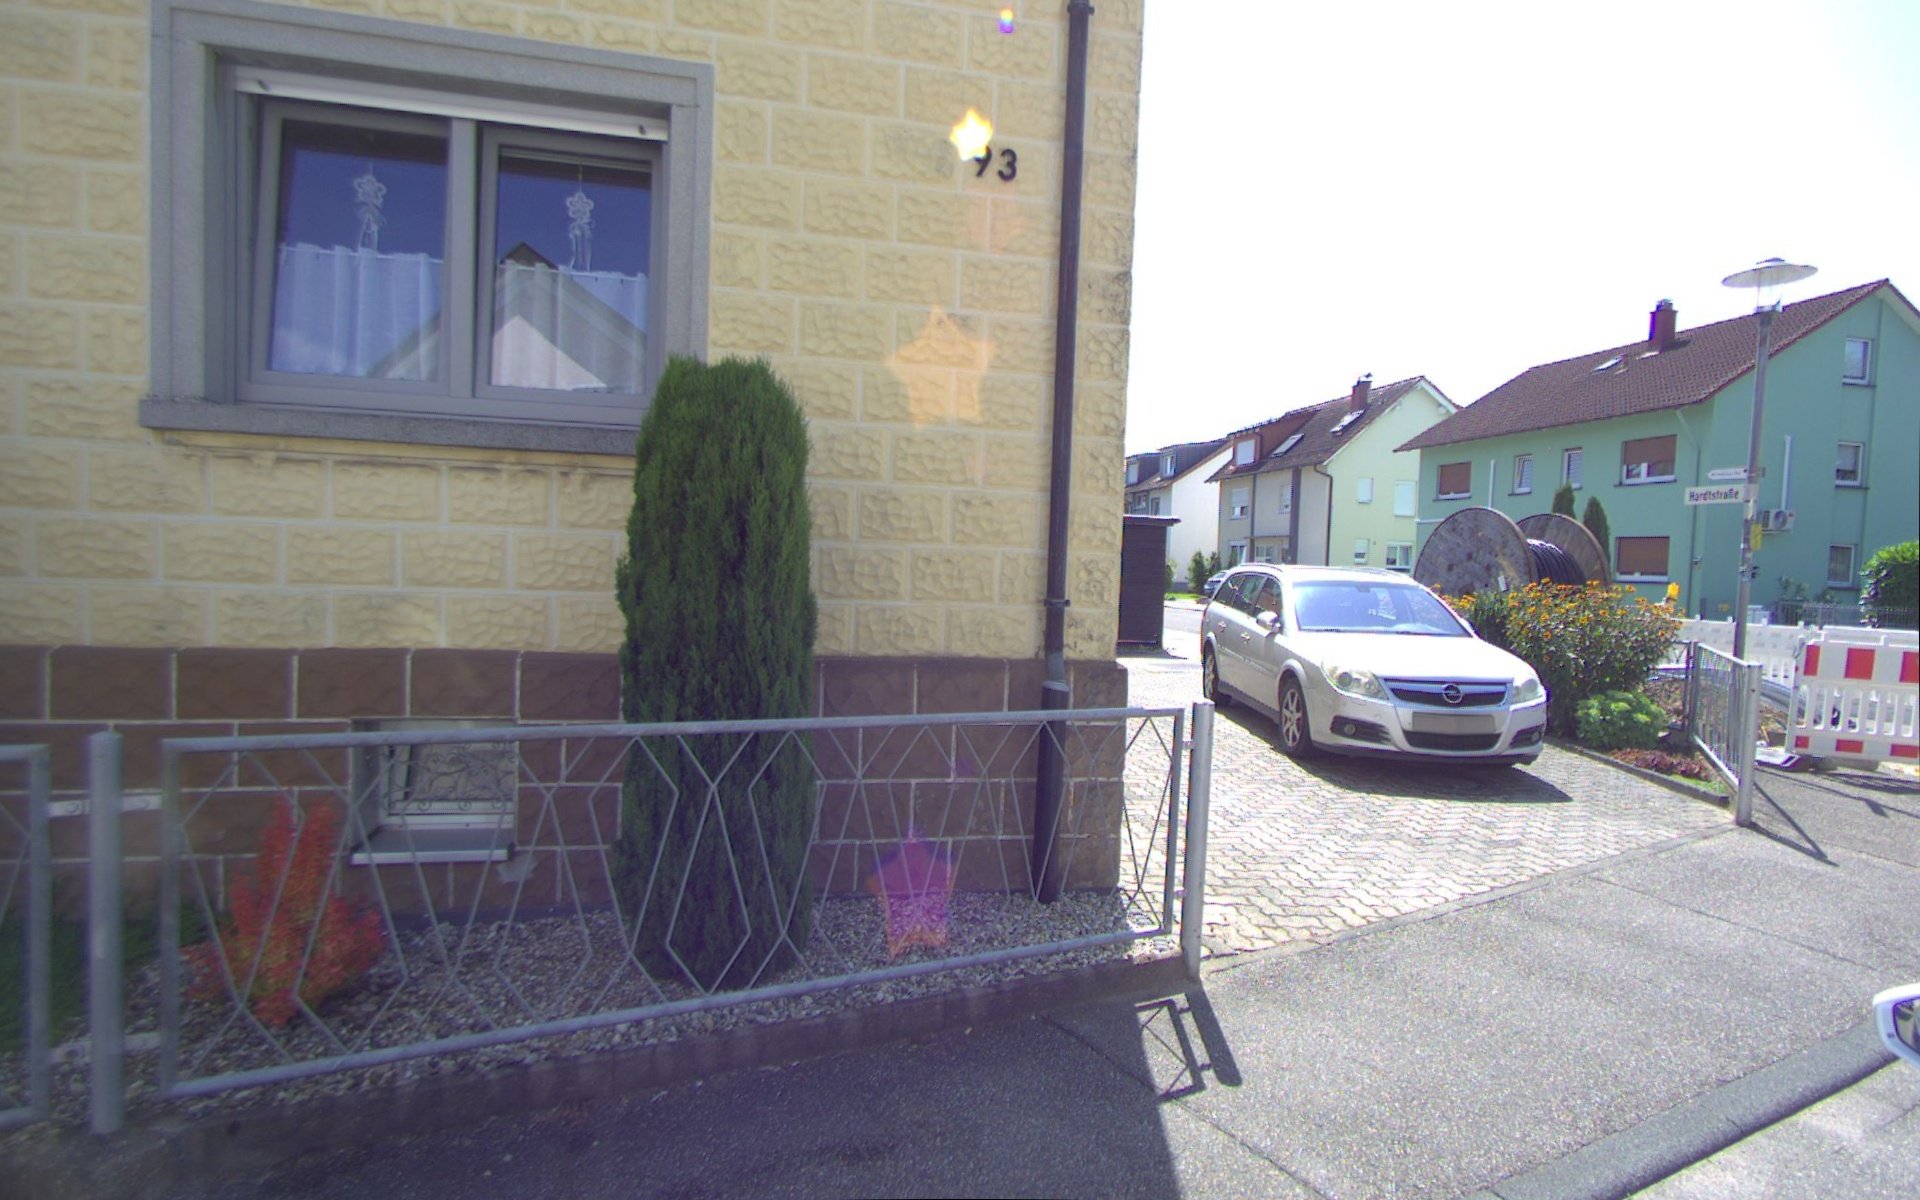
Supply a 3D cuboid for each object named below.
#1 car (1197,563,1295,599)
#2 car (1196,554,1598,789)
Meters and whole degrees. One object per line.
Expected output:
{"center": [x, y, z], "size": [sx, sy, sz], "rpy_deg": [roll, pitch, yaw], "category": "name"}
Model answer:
{"center": [12.942, -0.875, 45.533], "size": [3.857, 1.530, 1.770], "rpy_deg": [1, 3, -11], "category": "car"}
{"center": [3.447, 0.402, 8.981], "size": [1.756, 1.505, 4.473], "rpy_deg": [2, 2, 3], "category": "car"}
